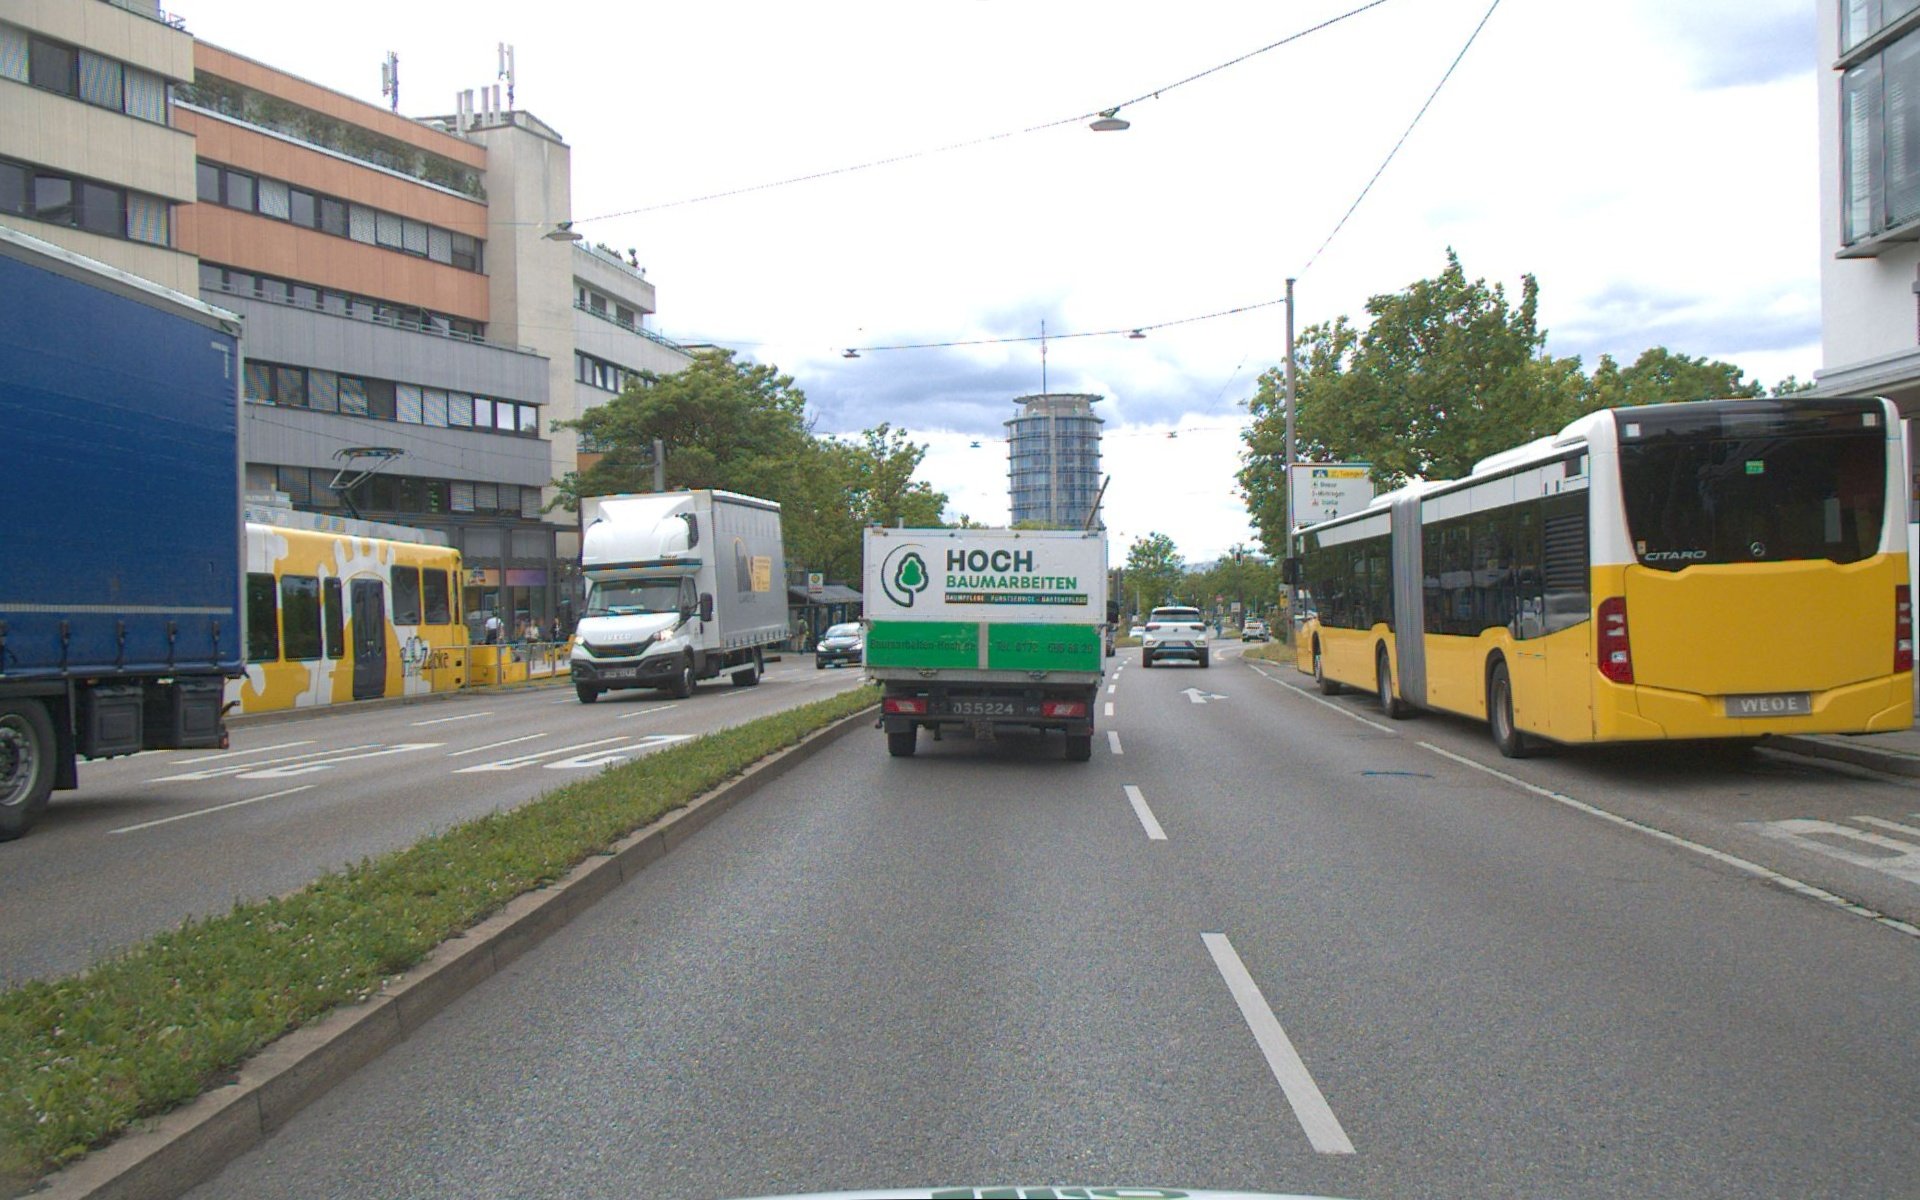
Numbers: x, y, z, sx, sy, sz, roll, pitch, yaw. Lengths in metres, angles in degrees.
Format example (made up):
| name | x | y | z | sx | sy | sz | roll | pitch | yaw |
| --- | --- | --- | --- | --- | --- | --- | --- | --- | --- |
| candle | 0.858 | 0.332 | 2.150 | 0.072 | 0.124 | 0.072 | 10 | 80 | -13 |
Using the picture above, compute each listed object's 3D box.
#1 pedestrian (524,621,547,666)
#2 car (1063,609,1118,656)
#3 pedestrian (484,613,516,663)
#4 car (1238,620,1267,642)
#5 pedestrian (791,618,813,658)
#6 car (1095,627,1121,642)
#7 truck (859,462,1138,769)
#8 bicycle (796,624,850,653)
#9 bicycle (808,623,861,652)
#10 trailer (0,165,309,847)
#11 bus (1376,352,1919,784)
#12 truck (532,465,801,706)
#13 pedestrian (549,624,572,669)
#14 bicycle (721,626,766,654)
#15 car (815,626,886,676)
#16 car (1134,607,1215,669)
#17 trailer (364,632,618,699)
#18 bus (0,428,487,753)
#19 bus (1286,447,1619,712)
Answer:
| name | x | y | z | sx | sy | sz | roll | pitch | yaw |
| --- | --- | --- | --- | --- | --- | --- | --- | --- | --- |
| pedestrian | -15.171 | 1.556 | 59.109 | 0.586 | 1.601 | 0.621 | -1 | -1 | 4 |
| car | 4.596 | 1.109 | 58.696 | 1.828 | 1.531 | 4.775 | -1 | 0 | 4 |
| pedestrian | -15.185 | 1.251 | 54.595 | 0.742 | 1.601 | 0.806 | -1 | -1 | -41 |
| car | 22.031 | 2.324 | 124.559 | 1.951 | 1.579 | 4.003 | -2 | -1 | 7 |
| pedestrian | -7.442 | 1.794 | 77.922 | 0.688 | 1.854 | 1.214 | 0 | -2 | 11 |
| car | 14.737 | 3.437 | 164.542 | 1.951 | 1.512 | 4.003 | -2 | -2 | 14 |
| truck | 0.531 | 0.136 | 17.683 | 2.419 | 2.657 | 6.550 | 0 | 0 | 3 |
| bicycle | -7.649 | 2.126 | 92.348 | 2.837 | 1.533 | 0.892 | -2 | -1 | 7 |
| bicycle | -7.155 | 2.138 | 94.343 | 2.837 | 1.533 | 0.806 | -2 | -1 | 7 |
| trailer | -7.777 | -0.557 | 7.464 | 3.037 | 4.344 | 14.853 | -1 | 0 | 3 |
| bus | 6.859 | -0.211 | 17.561 | 2.972 | 3.292 | 9.342 | -2 | -1 | 3 |
| truck | -5.424 | -0.234 | 32.597 | 2.876 | 4.027 | 9.170 | -1 | 0 | 5 |
| pedestrian | -14.270 | 1.650 | 59.091 | 0.586 | 1.601 | 0.621 | -1 | -1 | 4 |
| bicycle | -9.289 | 1.700 | 70.982 | 1.949 | 1.181 | 0.595 | 1 | 0 | -43 |
| car | -3.325 | 1.537 | 50.838 | 1.474 | 1.369 | 3.951 | -3 | -1 | 5 |
| car | 5.745 | 0.986 | 44.720 | 1.828 | 1.531 | 4.775 | -1 | 0 | 4 |
| trailer | -12.090 | 1.631 | 44.261 | 2.781 | 1.356 | 12.130 | -2 | -1 | 3 |
| bus | -13.116 | 0.007 | 27.863 | 3.796 | 3.927 | 19.347 | -2 | -1 | 3 |
| bus | 7.266 | -0.207 | 26.077 | 2.919 | 3.298 | 9.870 | 2 | -1 | 4 |
